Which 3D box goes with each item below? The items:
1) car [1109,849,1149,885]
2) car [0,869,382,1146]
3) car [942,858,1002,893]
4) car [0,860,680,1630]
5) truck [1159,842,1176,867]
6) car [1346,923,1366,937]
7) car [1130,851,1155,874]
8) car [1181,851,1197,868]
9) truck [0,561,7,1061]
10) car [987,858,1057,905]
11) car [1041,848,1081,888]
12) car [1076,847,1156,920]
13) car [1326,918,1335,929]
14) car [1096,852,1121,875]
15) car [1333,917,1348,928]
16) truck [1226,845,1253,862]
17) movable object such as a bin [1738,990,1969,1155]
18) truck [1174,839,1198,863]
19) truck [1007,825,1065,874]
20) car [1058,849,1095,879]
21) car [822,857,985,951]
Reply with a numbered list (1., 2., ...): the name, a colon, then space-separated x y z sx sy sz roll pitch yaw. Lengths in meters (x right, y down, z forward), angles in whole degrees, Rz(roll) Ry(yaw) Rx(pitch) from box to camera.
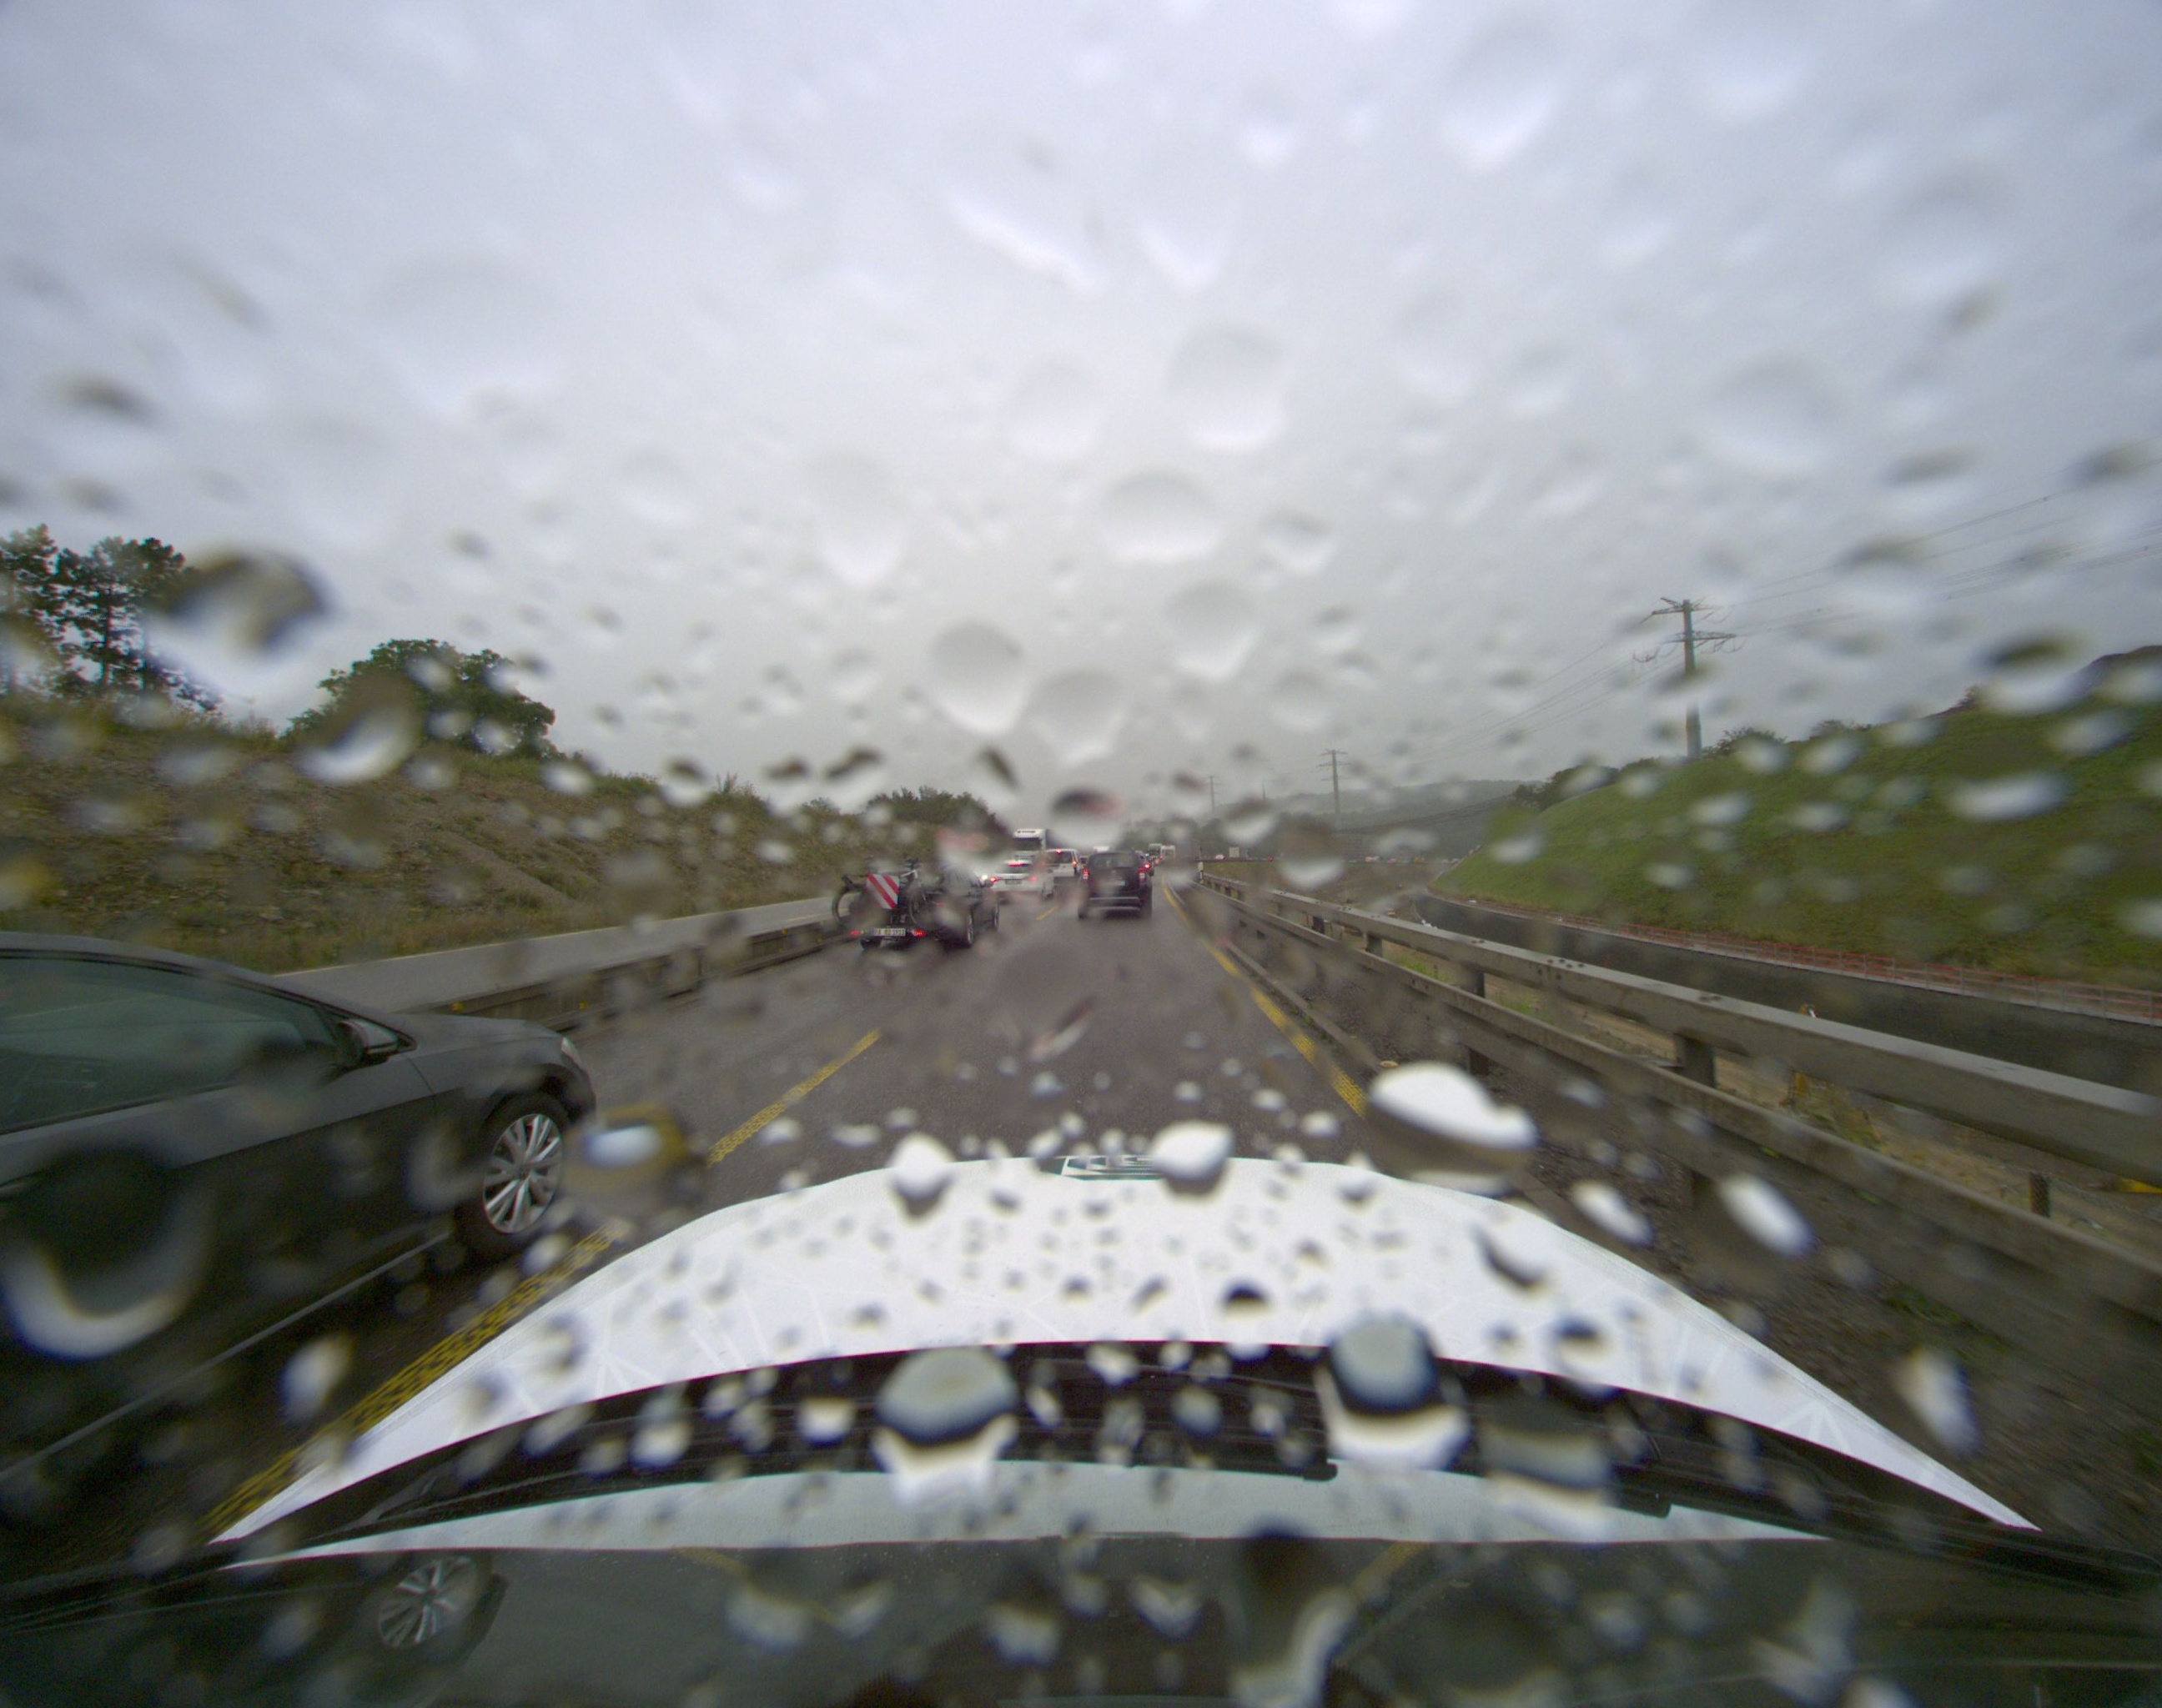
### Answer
1. car: 2.367 0.615 40.371 1.860 1.708 4.003 0 0 3
2. car: -6.569 0.826 4.432 1.860 1.406 4.118 0 0 2
3. car: -4.781 0.915 36.349 1.860 1.460 4.552 0 0 3
4. car: -2.979 0.826 2.105 1.609 1.506 4.368 -3 0 1
5. truck: 11.513 0.096 108.124 2.138 3.166 6.471 0 0 6
6. car: 48.095 13.292 142.469 2.355 2.013 4.004 0 0 4
7. car: 4.400 0.582 58.105 1.522 1.640 4.021 0 0 8
8. car: 12.656 0.623 95.405 1.765 1.916 4.008 0 0 7
9. truck: -10.194 -0.324 2.358 2.757 3.996 8.428 -1 0 3
10. car: -1.946 0.886 28.164 1.860 1.460 4.552 0 0 3
11. car: -0.915 0.653 39.732 1.653 1.880 4.023 0 0 3
12. car: 0.945 0.687 20.637 1.796 1.646 3.780 -1 0 4
13. car: 55.596 15.512 181.560 1.978 2.013 4.018 0 0 17
14. car: 2.229 0.771 65.088 1.860 1.708 4.094 -1 -1 3
15. car: 50.899 13.369 159.849 1.983 1.816 4.007 -1 0 6
16. truck: 41.928 -0.132 215.076 4.678 4.150 15.759 0 0 19
17. movable object such as a bin: 23.518 6.543 25.105 3.202 3.867 4.123 1 1 1
18. truck: 16.950 -0.480 131.402 3.179 3.761 8.537 0 0 12
19. truck: -3.914 -0.356 75.136 2.918 4.097 14.416 0 0 6
20. car: -0.222 0.543 48.528 1.859 1.708 4.096 0 0 4
21. car: -3.068 0.810 14.907 1.820 1.476 3.782 -1 0 5
